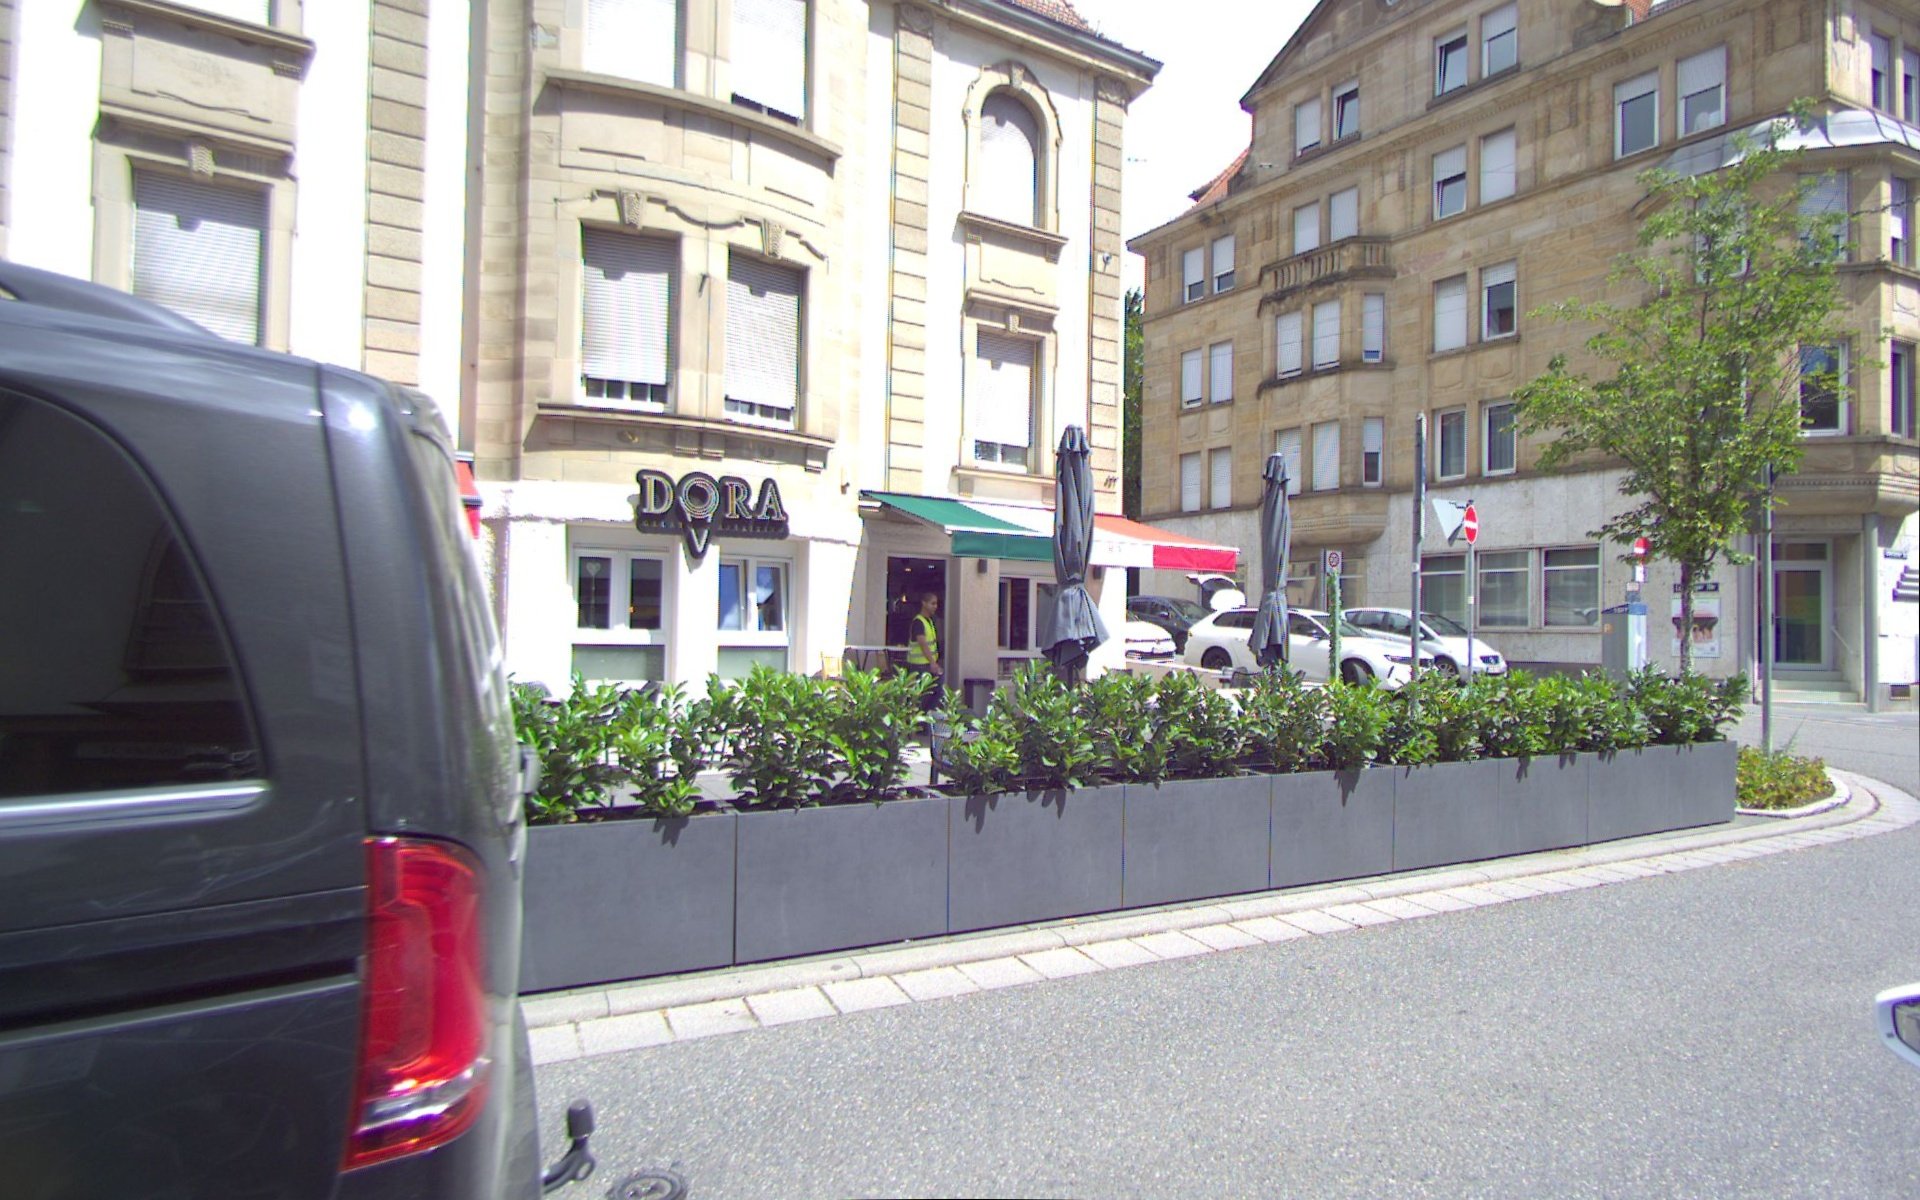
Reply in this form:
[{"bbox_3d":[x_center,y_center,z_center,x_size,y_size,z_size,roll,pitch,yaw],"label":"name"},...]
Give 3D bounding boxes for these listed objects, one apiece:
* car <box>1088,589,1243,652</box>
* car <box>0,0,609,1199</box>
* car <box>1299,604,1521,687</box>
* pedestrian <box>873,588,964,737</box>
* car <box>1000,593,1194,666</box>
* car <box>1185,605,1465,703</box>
[{"bbox_3d":[5.805,0.555,28.819,1.978,1.582,4.181,2,0,-32],"label":"car"},{"bbox_3d":[-3.102,0.290,0.866,5.108,1.958,1.865,1,-1,-27],"label":"car"},{"bbox_3d":[10.055,0.964,22.745,1.978,1.582,4.181,2,0,-32],"label":"car"},{"bbox_3d":[-0.523,0.762,12.639,0.792,1.780,0.805,2,0,-34],"label":"pedestrian"},{"bbox_3d":[2.981,0.618,22.599,1.817,1.399,4.183,2,0,-40],"label":"car"},{"bbox_3d":[6.456,0.895,18.180,1.984,1.399,4.336,2,0,-40],"label":"car"}]
